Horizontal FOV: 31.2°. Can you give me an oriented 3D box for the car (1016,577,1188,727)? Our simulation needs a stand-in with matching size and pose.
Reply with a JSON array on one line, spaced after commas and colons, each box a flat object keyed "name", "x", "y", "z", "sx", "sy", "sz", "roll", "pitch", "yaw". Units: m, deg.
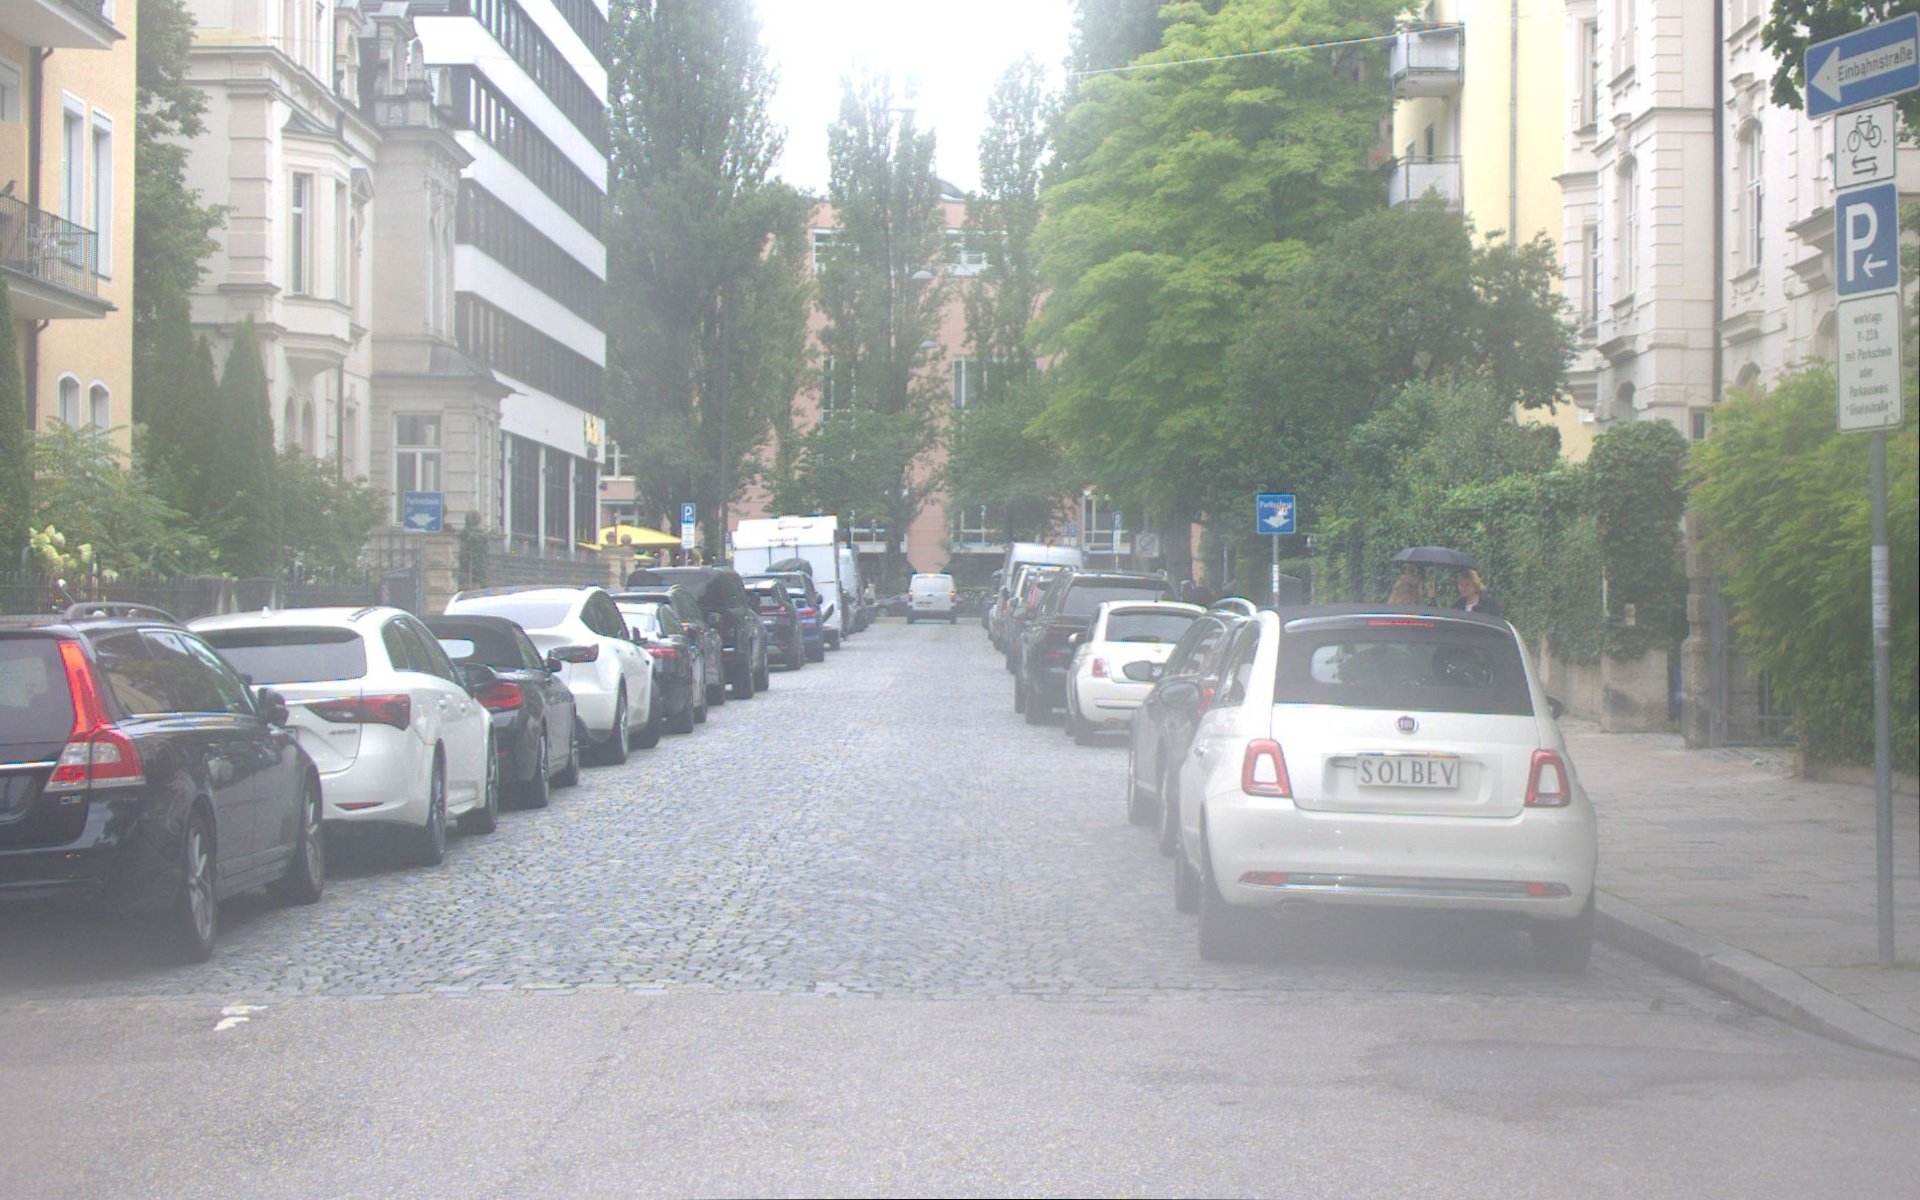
[{"name": "car", "x": 1.643, "y": 0.591, "z": 41.381, "sx": 1.875, "sy": 1.667, "sz": 5.491, "roll": 1, "pitch": 0, "yaw": 1}]

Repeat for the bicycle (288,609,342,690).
[{"name": "bicycle", "x": -8.149, "y": 0.621, "z": 43.457, "sx": 0.352, "sy": 0.999, "sz": 1.573, "roll": 1, "pitch": 0, "yaw": 1}]

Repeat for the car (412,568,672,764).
[{"name": "car", "x": -3.795, "y": 0.570, "z": 31.893, "sx": 1.773, "sy": 1.642, "sz": 4.391, "roll": 2, "pitch": 0, "yaw": 1}]

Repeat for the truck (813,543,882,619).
[{"name": "truck", "x": -3.515, "y": -0.583, "z": 107.960, "sx": 1.993, "sy": 2.339, "sz": 4.068, "roll": 1, "pitch": 0, "yaw": 0}]

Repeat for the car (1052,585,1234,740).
[{"name": "car", "x": 1.863, "y": 0.624, "z": 35.927, "sx": 1.630, "sy": 1.464, "sz": 3.659, "roll": 3, "pitch": 0, "yaw": 0}]

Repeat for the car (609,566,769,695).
[{"name": "car", "x": -3.836, "y": 0.392, "z": 49.300, "sx": 1.982, "sy": 1.731, "sz": 4.722, "roll": 1, "pitch": 1, "yaw": -1}]

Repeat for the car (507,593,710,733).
[{"name": "car", "x": -3.804, "y": 0.659, "z": 37.822, "sx": 1.773, "sy": 1.424, "sz": 4.391, "roll": 1, "pitch": 0, "yaw": 0}]

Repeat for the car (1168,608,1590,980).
[{"name": "car", "x": 1.772, "y": 0.770, "z": 15.501, "sx": 1.502, "sy": 1.466, "sz": 3.795, "roll": 0, "pitch": 0, "yaw": 1}]

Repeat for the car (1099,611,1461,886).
[{"name": "car", "x": 1.874, "y": 0.831, "z": 21.433, "sx": 1.648, "sy": 1.417, "sz": 4.632, "roll": 4, "pitch": 0, "yaw": -1}]

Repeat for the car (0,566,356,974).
[{"name": "car", "x": -4.052, "y": 0.656, "z": 15.718, "sx": 1.852, "sy": 1.581, "sz": 4.748, "roll": 1, "pitch": 0, "yaw": -2}]

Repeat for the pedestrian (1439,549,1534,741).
[{"name": "pedestrian", "x": 5.005, "y": 0.422, "z": 32.702, "sx": 0.628, "sy": 1.802, "sz": 0.660, "roll": 1, "pitch": 0, "yaw": -23}]

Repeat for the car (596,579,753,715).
[{"name": "car", "x": -3.535, "y": 0.575, "z": 43.166, "sx": 1.579, "sy": 1.584, "sz": 4.056, "roll": -2, "pitch": 0, "yaw": 0}]

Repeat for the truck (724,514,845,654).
[{"name": "truck", "x": -3.986, "y": -0.384, "z": 79.091, "sx": 2.508, "sy": 3.021, "sz": 6.385, "roll": -2, "pitch": 1, "yaw": -1}]

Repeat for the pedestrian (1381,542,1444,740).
[{"name": "pedestrian", "x": 4.256, "y": 0.379, "z": 32.327, "sx": 0.576, "sy": 1.844, "sz": 0.681, "roll": 0, "pitch": 0, "yaw": 8}]

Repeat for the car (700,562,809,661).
[{"name": "car", "x": -3.697, "y": 0.210, "z": 62.503, "sx": 1.773, "sy": 1.712, "sz": 4.391, "roll": 1, "pitch": 0, "yaw": -1}]

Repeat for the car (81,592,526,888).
[{"name": "car", "x": -3.793, "y": 0.752, "z": 20.636, "sx": 1.773, "sy": 1.531, "sz": 4.540, "roll": -2, "pitch": 0, "yaw": 0}]

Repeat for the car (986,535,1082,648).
[{"name": "car", "x": 1.694, "y": -0.235, "z": 80.381, "sx": 1.895, "sy": 2.418, "sz": 5.611, "roll": 4, "pitch": 1, "yaw": -1}]

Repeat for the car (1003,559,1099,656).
[{"name": "car", "x": 1.942, "y": 0.151, "z": 74.829, "sx": 1.800, "sy": 1.943, "sz": 4.860, "roll": 3, "pitch": 0, "yaw": -1}]

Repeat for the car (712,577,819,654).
[{"name": "car", "x": -3.814, "y": 0.295, "z": 67.863, "sx": 1.940, "sy": 1.454, "sz": 4.058, "roll": 1, "pitch": 0, "yaw": -1}]

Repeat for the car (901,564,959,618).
[{"name": "car", "x": -1.085, "y": -0.330, "z": 126.257, "sx": 1.996, "sy": 1.929, "sz": 4.000, "roll": 0, "pitch": 0, "yaw": 1}]

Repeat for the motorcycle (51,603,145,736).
[{"name": "motorcycle", "x": -8.045, "y": 0.632, "z": 32.122, "sx": 0.491, "sy": 1.190, "sz": 1.579, "roll": 0, "pitch": 0, "yaw": -1}]

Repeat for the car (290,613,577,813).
[{"name": "car", "x": -3.885, "y": 0.791, "z": 25.988, "sx": 1.773, "sy": 1.355, "sz": 4.391, "roll": 1, "pitch": 0, "yaw": -4}]

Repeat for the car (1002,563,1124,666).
[{"name": "car", "x": 1.806, "y": 0.251, "z": 61.662, "sx": 1.963, "sy": 1.753, "sz": 4.954, "roll": 1, "pitch": 0, "yaw": -1}]
